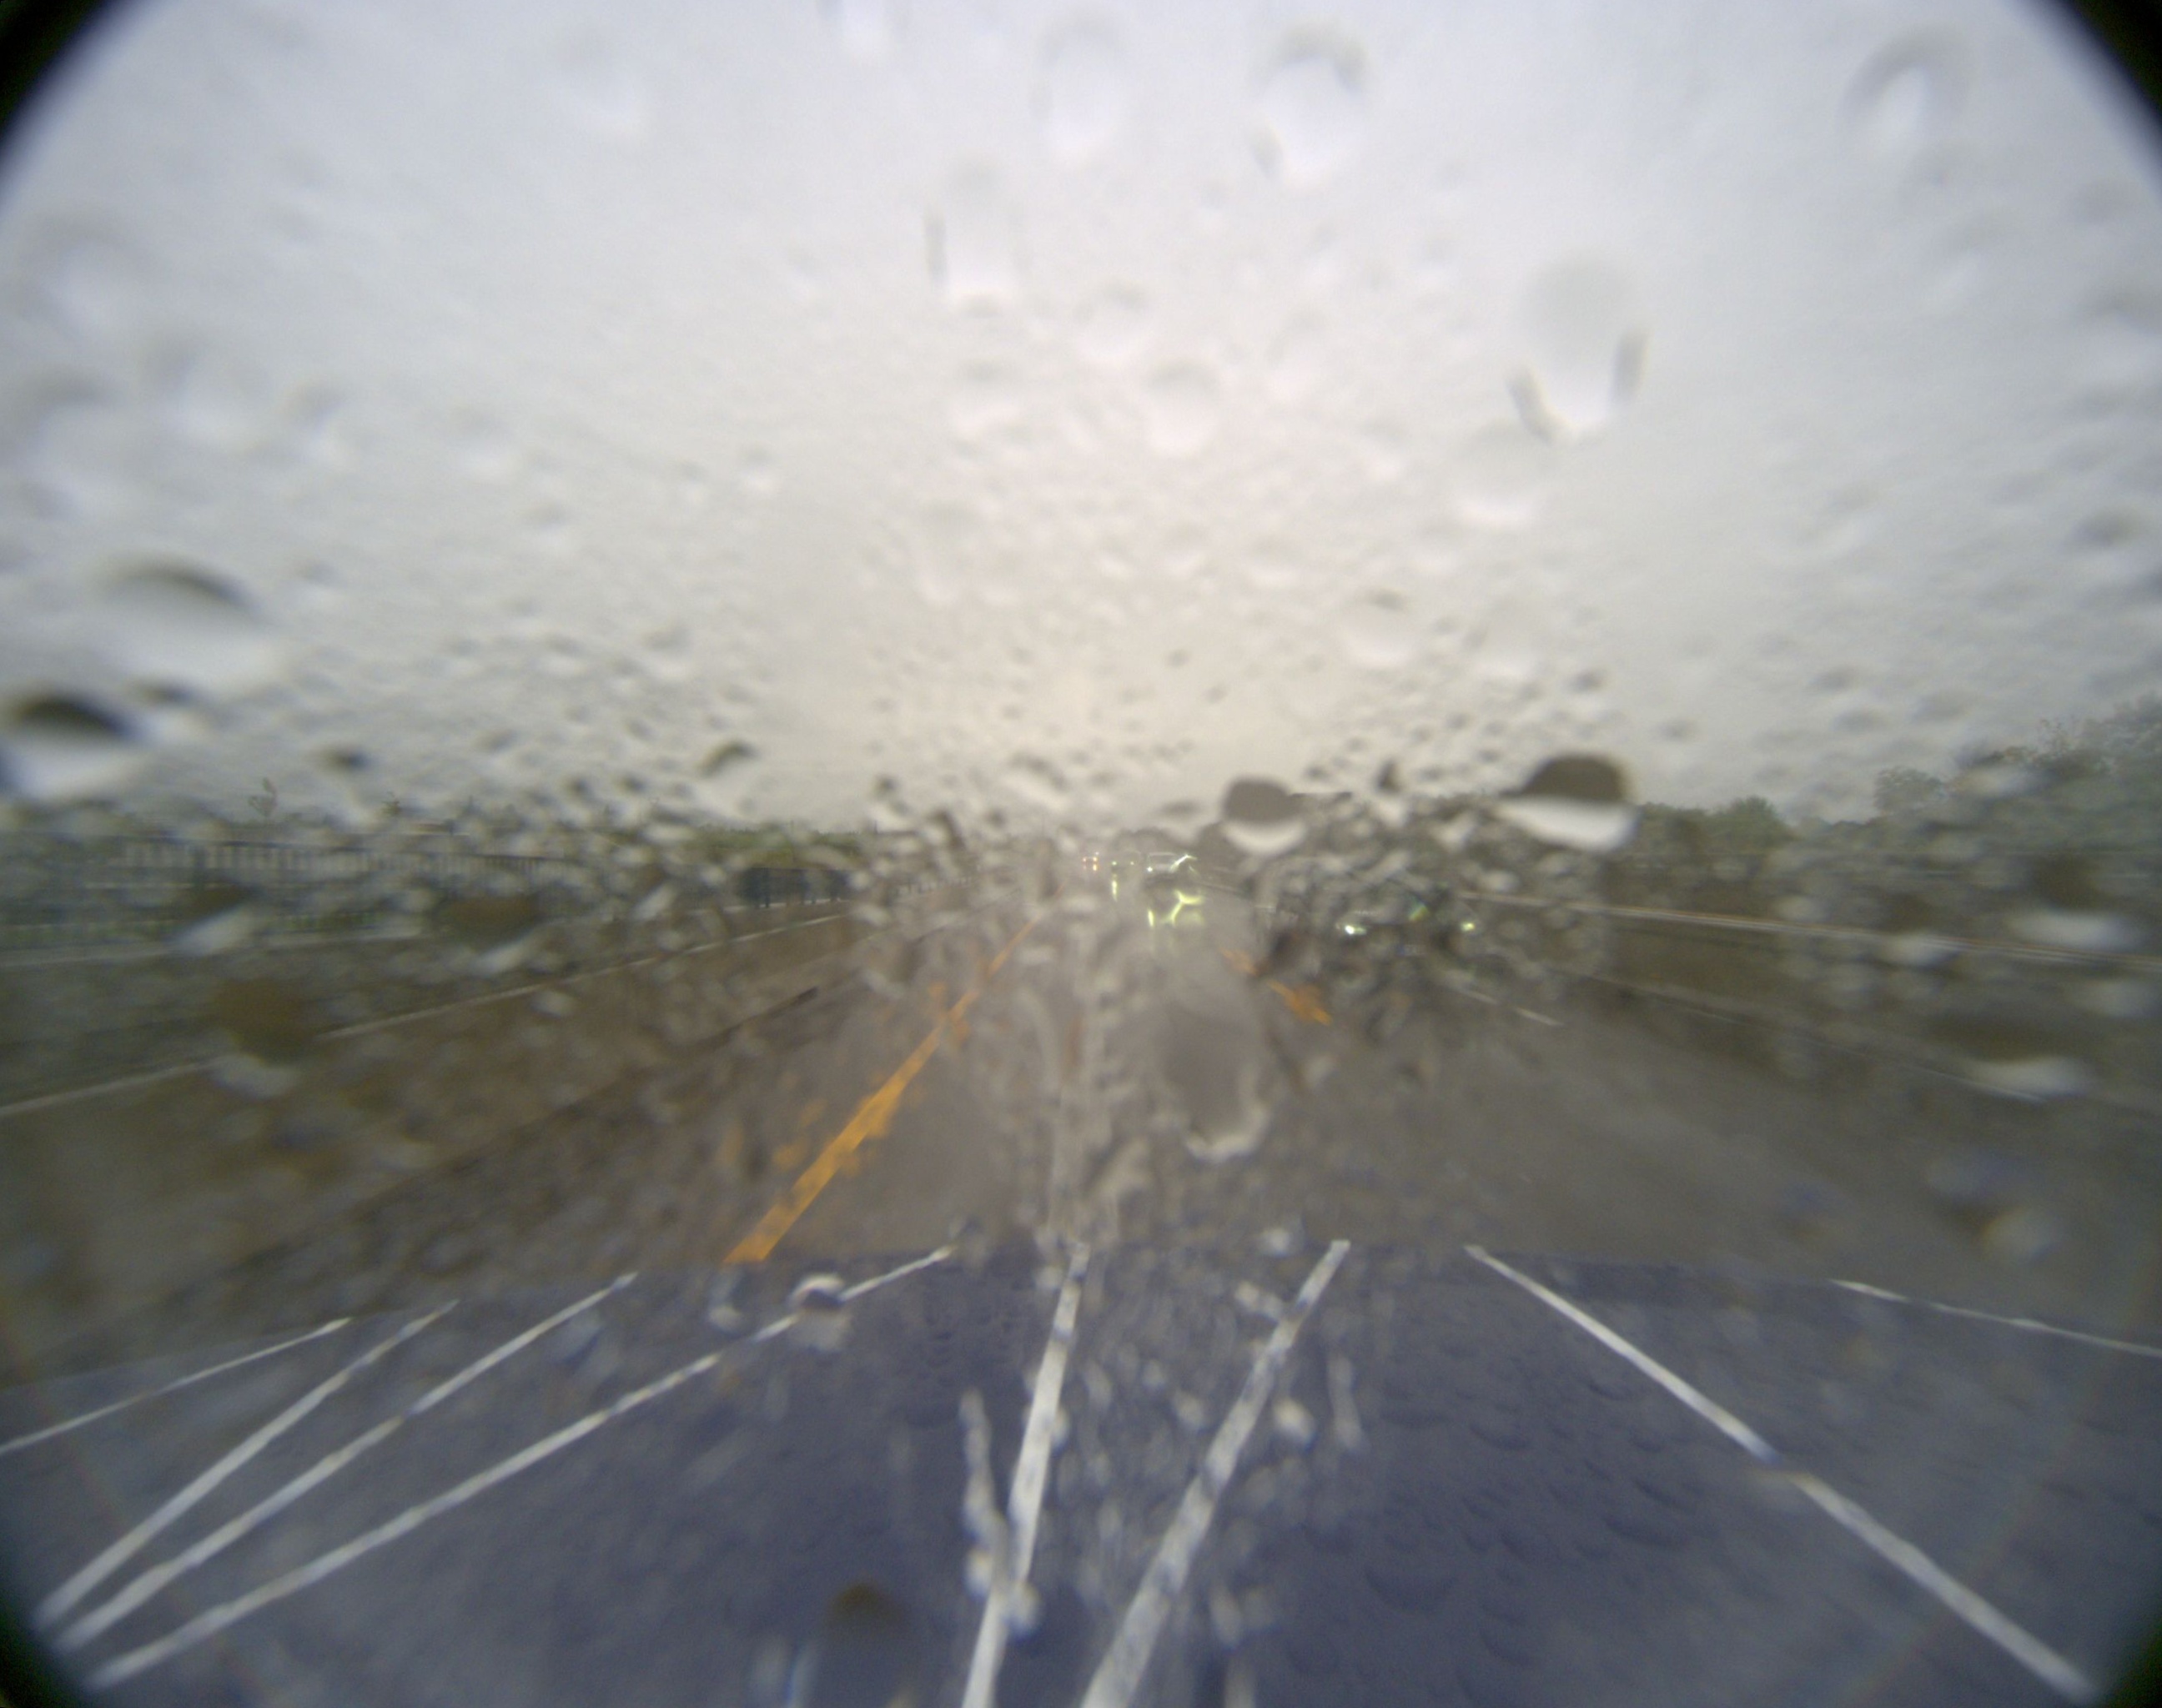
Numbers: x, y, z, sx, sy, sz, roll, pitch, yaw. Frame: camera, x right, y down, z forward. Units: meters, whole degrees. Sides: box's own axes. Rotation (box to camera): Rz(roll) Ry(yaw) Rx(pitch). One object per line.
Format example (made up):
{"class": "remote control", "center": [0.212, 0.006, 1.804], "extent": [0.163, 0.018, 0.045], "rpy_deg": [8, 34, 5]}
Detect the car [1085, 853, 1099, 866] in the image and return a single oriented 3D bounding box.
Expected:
{"class": "car", "center": [1.561, 0.820, 110.652], "extent": [1.998, 1.762, 3.999], "rpy_deg": [-2, 1, 0]}

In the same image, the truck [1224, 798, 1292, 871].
{"class": "truck", "center": [10.884, -1.189, 47.345], "extent": [2.648, 4.103, 6.694], "rpy_deg": [-2, 1, 1]}

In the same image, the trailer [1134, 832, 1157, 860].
{"class": "trailer", "center": [10.549, -1.388, 125.443], "extent": [2.693, 4.253, 13.069], "rpy_deg": [-2, 1, 1]}

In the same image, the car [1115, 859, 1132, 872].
{"class": "car", "center": [3.633, 0.964, 65.092], "extent": [1.335, 1.105, 3.199], "rpy_deg": [1, 0, 1]}

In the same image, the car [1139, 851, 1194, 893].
{"class": "car", "center": [3.776, 0.749, 34.142], "extent": [1.971, 1.670, 3.999], "rpy_deg": [-2, 1, 0]}

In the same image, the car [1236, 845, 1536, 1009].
{"class": "car", "center": [3.499, 0.694, 9.878], "extent": [1.944, 1.519, 4.794], "rpy_deg": [-2, 1, 0]}

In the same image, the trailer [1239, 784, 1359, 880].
{"class": "trailer", "center": [10.786, -1.076, 39.273], "extent": [2.656, 4.085, 12.312], "rpy_deg": [-2, 1, 1]}
